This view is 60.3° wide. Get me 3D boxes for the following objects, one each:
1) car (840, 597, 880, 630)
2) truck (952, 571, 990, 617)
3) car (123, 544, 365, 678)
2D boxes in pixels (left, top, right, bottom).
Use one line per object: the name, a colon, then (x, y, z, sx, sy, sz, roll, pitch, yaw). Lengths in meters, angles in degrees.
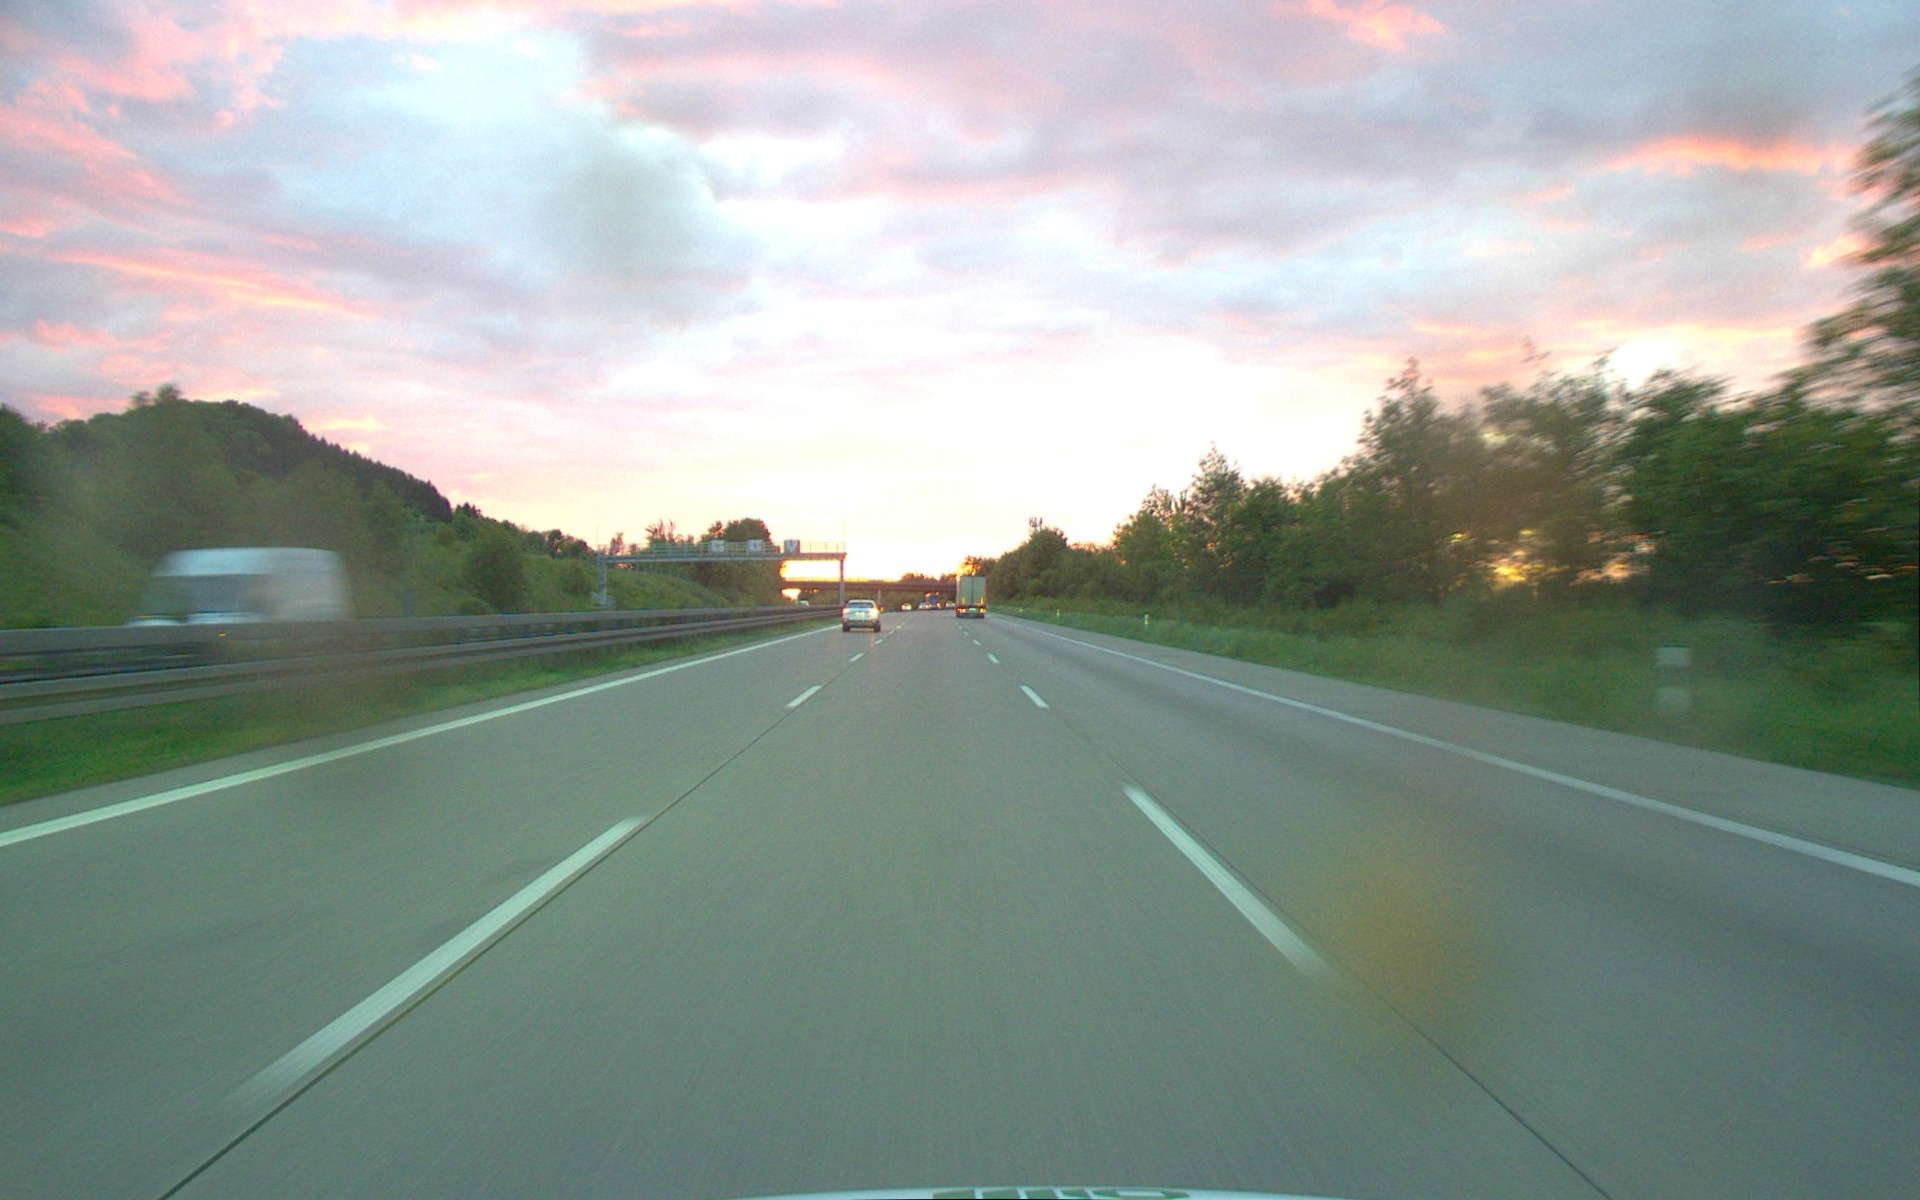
car: (-4.868, 0.650, 81.192, 1.753, 1.527, 5.036, 1, 0, -1)
truck: (0.998, -0.572, 157.315, 3.179, 4.199, 9.782, -1, 0, -2)
car: (-13.660, 0.197, 32.083, 1.953, 2.327, 6.338, 0, 0, 0)
